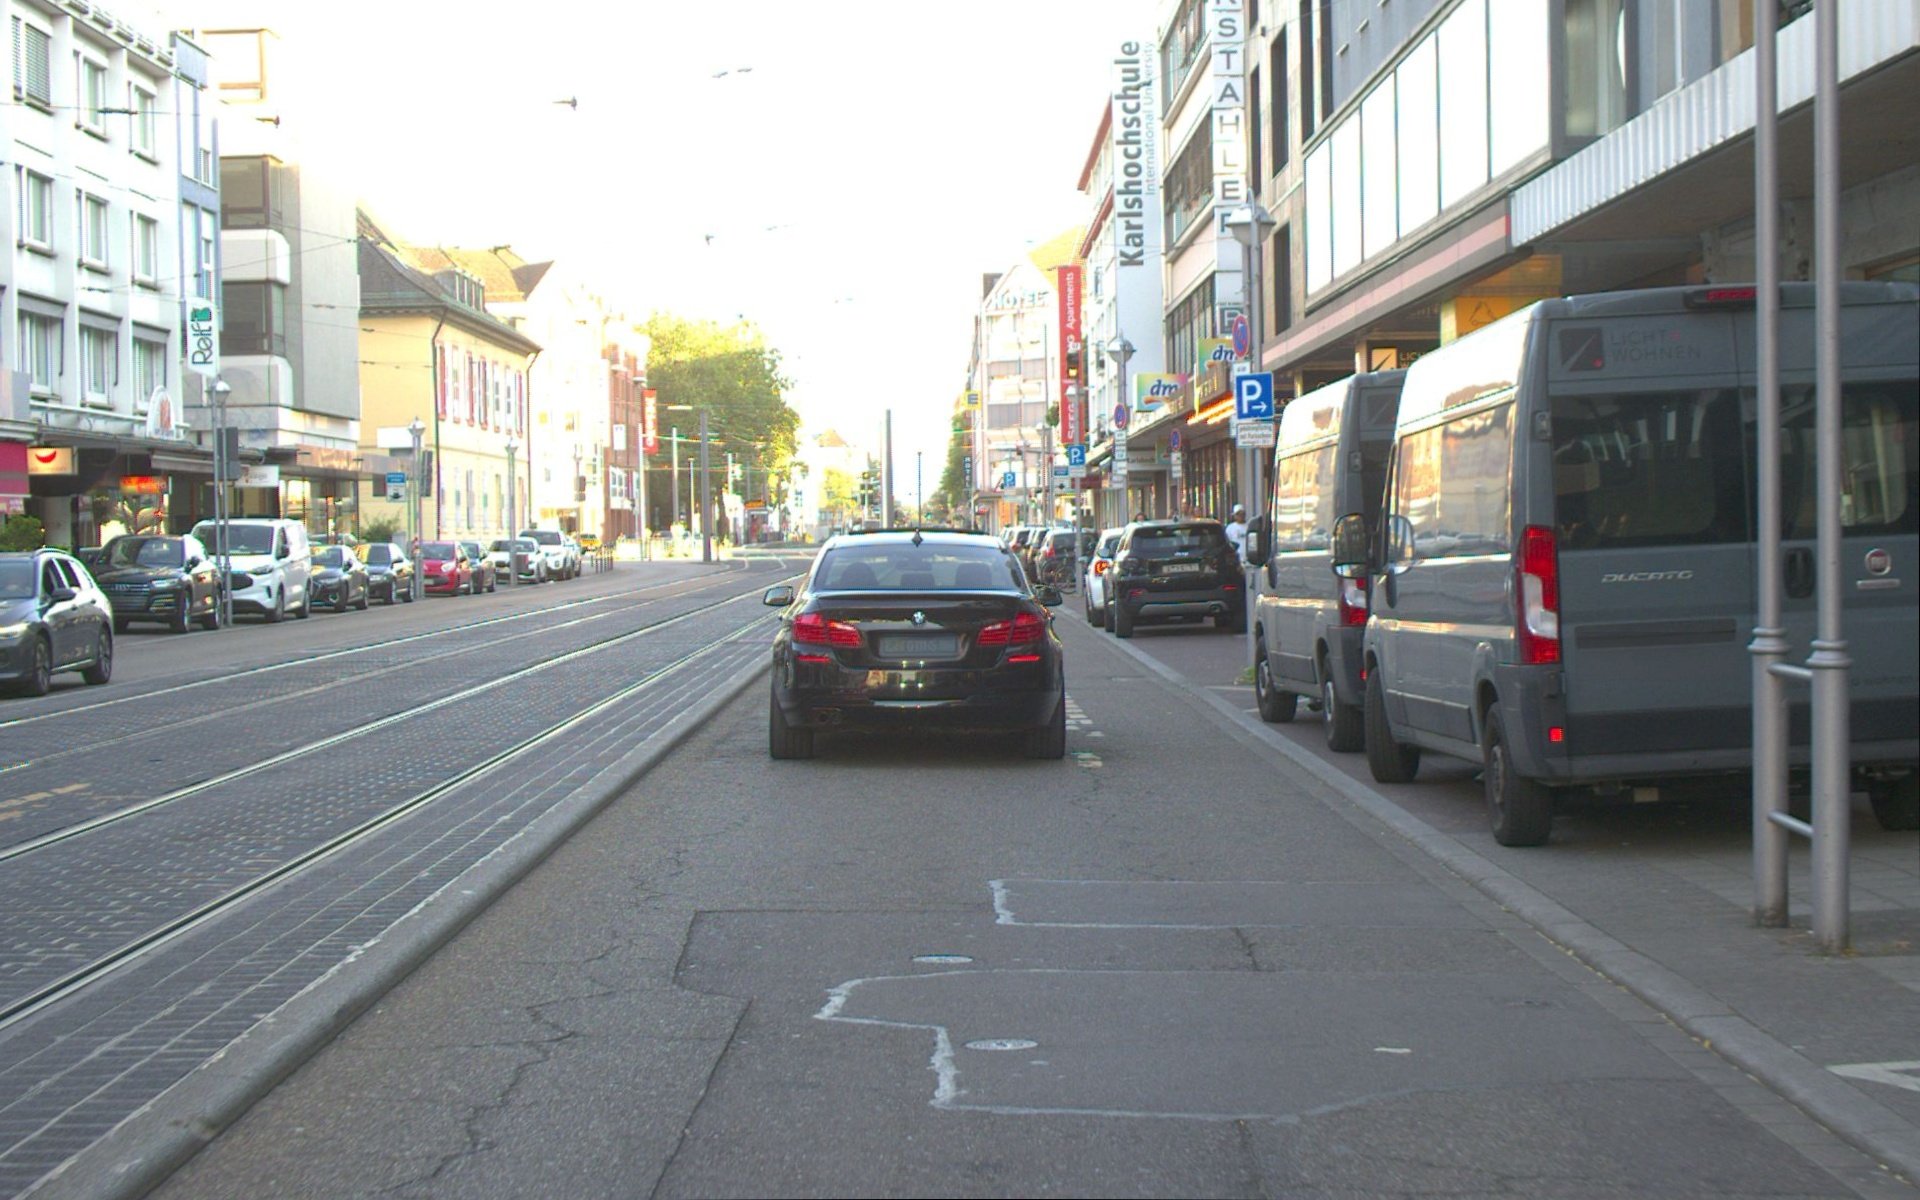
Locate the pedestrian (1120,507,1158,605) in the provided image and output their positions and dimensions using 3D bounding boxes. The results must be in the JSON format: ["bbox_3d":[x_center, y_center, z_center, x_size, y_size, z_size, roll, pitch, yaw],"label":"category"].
[{"bbox_3d":[3.017,-0.743,58.014,0.557,1.641,0.760,-1,1,-1],"label":"pedestrian"}]

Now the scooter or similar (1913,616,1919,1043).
[{"bbox_3d":[3.297,0.636,10.142,0.499,1.216,1.262,0,1,37],"label":"scooter or similar"}]

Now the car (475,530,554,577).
[{"bbox_3d":[-14.077,-1.481,108.824,1.928,1.430,4.246,-1,1,0],"label":"car"}]

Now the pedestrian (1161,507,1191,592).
[{"bbox_3d":[4.553,-1.070,72.568,0.554,1.785,0.760,-1,1,0],"label":"pedestrian"}]

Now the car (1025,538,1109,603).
[{"bbox_3d":[2.610,-0.726,84.685,1.903,1.543,4.000,0,1,0],"label":"car"}]

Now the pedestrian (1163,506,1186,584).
[{"bbox_3d":[4.676,-1.198,74.981,0.475,1.693,0.752,-1,1,3],"label":"pedestrian"}]

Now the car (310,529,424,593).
[{"bbox_3d":[-13.826,-0.928,80.386,1.928,1.430,4.246,0,1,0],"label":"car"}]

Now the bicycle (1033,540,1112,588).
[{"bbox_3d":[2.656,-0.848,81.377,1.861,1.115,0.468,0,0,1],"label":"bicycle"}]

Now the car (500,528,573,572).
[{"bbox_3d":[-14.142,-1.690,114.883,1.928,1.430,4.246,0,1,0],"label":"car"}]

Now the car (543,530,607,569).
[{"bbox_3d":[-14.433,-1.893,128.974,1.928,1.430,4.246,0,1,0],"label":"car"}]

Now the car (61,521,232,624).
[{"bbox_3d":[-13.770,-0.494,58.434,1.860,1.672,4.464,0,1,0],"label":"car"}]

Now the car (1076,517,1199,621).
[{"bbox_3d":[2.648,-0.489,51.947,1.559,1.437,3.709,-3,1,-1],"label":"car"}]

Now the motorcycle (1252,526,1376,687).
[{"bbox_3d":[3.283,0.039,32.053,0.844,1.414,2.165,-3,1,0],"label":"motorcycle"}]

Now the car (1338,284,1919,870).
[{"bbox_3d":[3.396,-0.171,17.721,2.092,2.446,6.033,-2,1,-1],"label":"car"}]

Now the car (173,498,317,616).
[{"bbox_3d":[-13.685,-0.843,66.095,1.993,2.149,4.912,-1,1,-3],"label":"car"}]

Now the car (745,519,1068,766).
[{"bbox_3d":[-0.286,0.219,23.130,1.953,1.493,4.465,0,1,1],"label":"car"}]

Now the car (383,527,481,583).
[{"bbox_3d":[-13.822,-1.195,90.235,1.928,1.430,4.246,0,1,0],"label":"car"}]

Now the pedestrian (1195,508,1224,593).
[{"bbox_3d":[5.264,-1.045,72.472,0.508,1.786,0.760,-1,1,0],"label":"pedestrian"}]

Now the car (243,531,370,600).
[{"bbox_3d":[-13.931,-0.757,73.520,1.928,1.430,4.246,0,1,0],"label":"car"}]

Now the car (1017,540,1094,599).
[{"bbox_3d":[2.531,-0.810,91.709,1.903,1.543,3.780,0,0,0],"label":"car"}]

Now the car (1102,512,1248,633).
[{"bbox_3d":[2.879,-0.402,46.732,1.654,1.532,3.886,-2,1,-1],"label":"car"}]

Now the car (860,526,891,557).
[{"bbox_3d":[-5.498,-3.800,223.843,1.993,1.832,4.000,0,-2,0],"label":"car"}]

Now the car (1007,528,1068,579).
[{"bbox_3d":[2.393,-1.438,106.326,1.774,1.543,3.503,0,1,0],"label":"car"}]

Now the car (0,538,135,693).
[{"bbox_3d":[-9.858,0.146,35.320,1.691,1.448,4.466,-3,1,-1],"label":"car"}]

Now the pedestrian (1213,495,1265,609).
[{"bbox_3d":[4.367,-0.755,53.762,0.689,1.734,0.820,-3,1,1],"label":"pedestrian"}]

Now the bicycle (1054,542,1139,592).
[{"bbox_3d":[2.997,-0.728,75.592,1.861,1.076,0.468,0,0,1],"label":"bicycle"}]

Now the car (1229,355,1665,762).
[{"bbox_3d":[3.254,-0.319,24.155,2.033,2.446,5.410,-3,1,-2],"label":"car"}]
